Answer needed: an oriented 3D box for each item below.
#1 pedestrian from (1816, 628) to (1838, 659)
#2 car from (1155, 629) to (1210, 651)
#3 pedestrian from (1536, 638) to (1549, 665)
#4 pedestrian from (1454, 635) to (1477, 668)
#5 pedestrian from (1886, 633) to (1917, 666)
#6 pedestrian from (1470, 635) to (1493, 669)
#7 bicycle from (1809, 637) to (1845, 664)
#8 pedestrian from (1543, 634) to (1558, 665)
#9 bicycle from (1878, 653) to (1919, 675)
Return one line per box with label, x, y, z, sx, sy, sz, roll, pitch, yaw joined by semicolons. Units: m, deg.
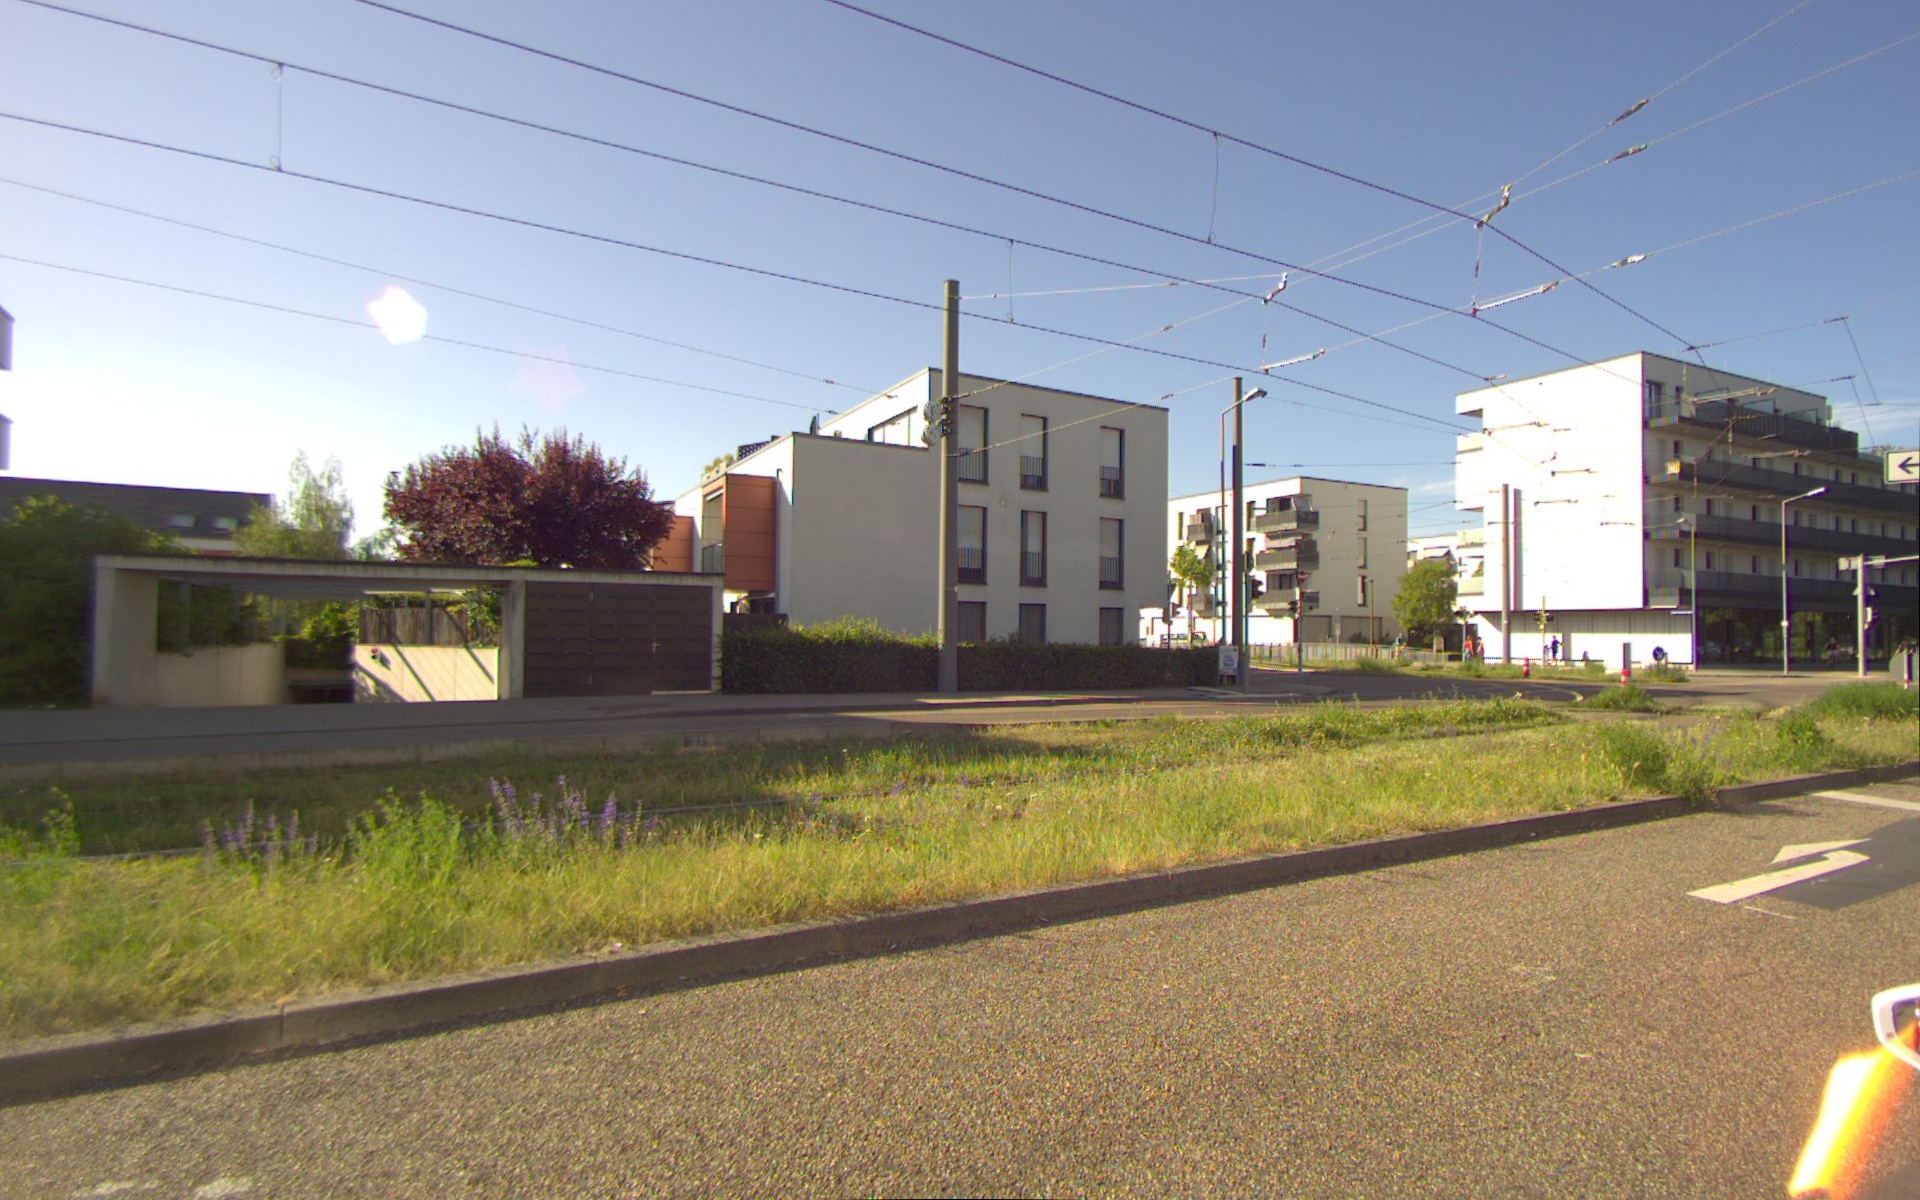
pedestrian;44.279;2.219;51.299;0.587;1.529;0.641;2;0;-23
car;17.749;3.179;80.372;1.974;1.595;4.309;2;0;-27
pedestrian;33.073;2.935;57.059;0.513;1.523;0.438;2;0;-35
pedestrian;25.502;2.583;50.655;0.736;1.626;0.765;2;0;-37
pedestrian;44.262;2.330;47.219;0.940;1.493;0.710;2;0;-23
pedestrian;25.958;2.594;50.008;0.736;1.626;0.765;2;0;-37
bicycle;44.303;2.581;51.327;1.885;1.350;0.629;2;0;-23
pedestrian;33.688;2.815;57.276;0.513;1.767;0.539;2;0;-35
bicycle;44.367;3.007;47.266;2.397;1.002;0.769;2;0;-23
